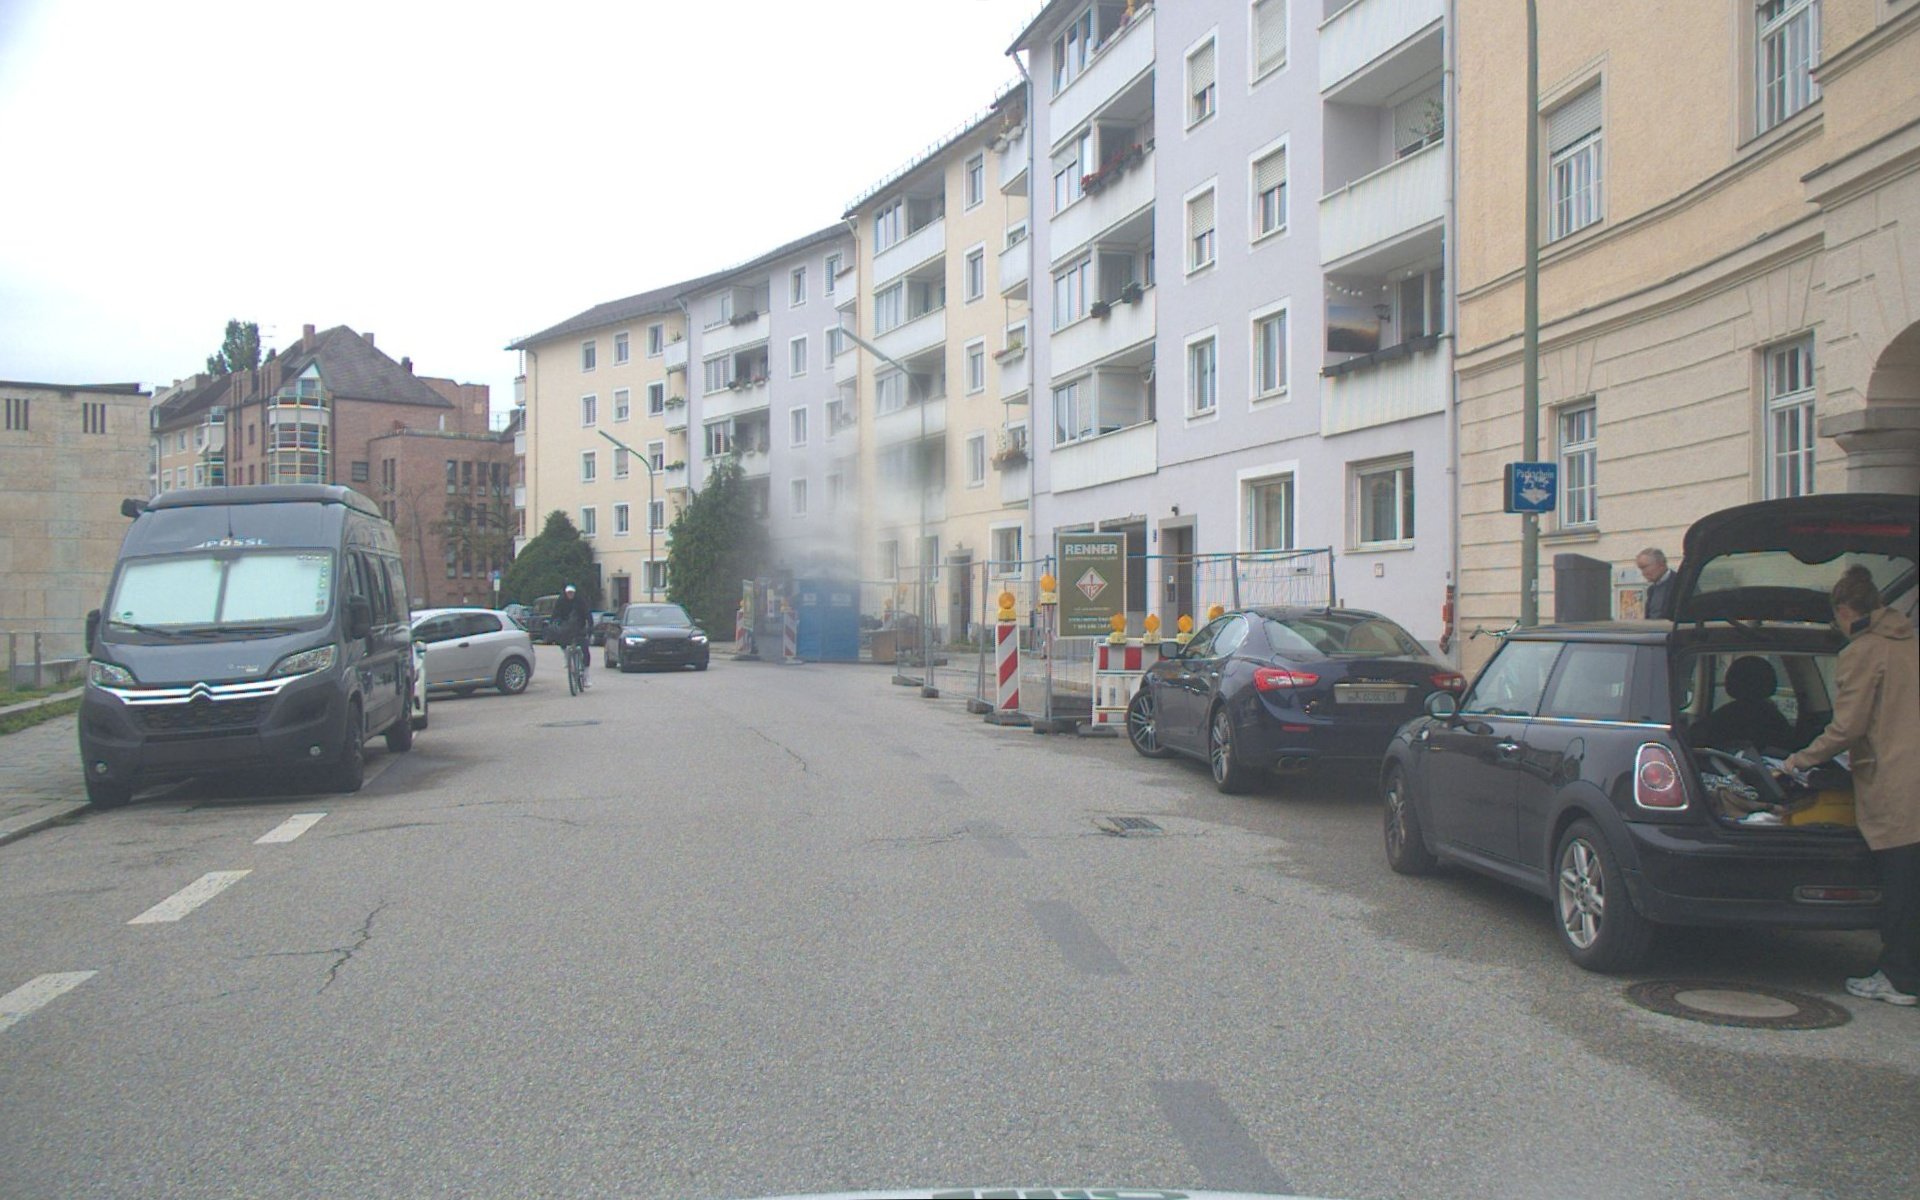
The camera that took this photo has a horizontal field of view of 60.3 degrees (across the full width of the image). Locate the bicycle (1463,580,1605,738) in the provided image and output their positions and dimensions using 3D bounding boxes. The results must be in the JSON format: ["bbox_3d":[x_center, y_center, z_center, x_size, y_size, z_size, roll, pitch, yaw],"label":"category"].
[{"bbox_3d":[4.933,0.485,14.313,0.623,1.280,1.670,0,0,-1],"label":"bicycle"}]

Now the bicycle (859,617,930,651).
[{"bbox_3d":[-2.170,1.121,54.761,2.203,1.088,0.912,0,0,-24],"label":"bicycle"}]

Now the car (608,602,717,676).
[{"bbox_3d":[-6.621,0.826,36.424,1.889,1.436,4.683,-3,0,-16],"label":"car"}]

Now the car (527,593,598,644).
[{"bbox_3d":[-16.415,0.761,68.223,1.764,2.011,3.679,-2,0,-32],"label":"car"}]

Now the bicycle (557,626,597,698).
[{"bbox_3d":[-6.316,0.997,27.222,0.576,1.088,1.930,-2,1,-14],"label":"bicycle"}]

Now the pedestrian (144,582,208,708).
[{"bbox_3d":[-12.012,0.674,25.334,0.833,1.899,0.707,1,0,-28],"label":"pedestrian"}]

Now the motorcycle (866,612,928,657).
[{"bbox_3d":[-1.799,0.956,46.742,0.919,1.242,2.488,0,0,-24],"label":"motorcycle"}]

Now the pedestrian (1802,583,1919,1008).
[{"bbox_3d":[3.704,0.721,6.370,0.615,1.555,0.578,1,0,-1],"label":"pedestrian"}]

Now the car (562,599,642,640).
[{"bbox_3d":[-13.999,0.756,64.548,1.767,1.545,3.673,1,-1,-36],"label":"car"}]

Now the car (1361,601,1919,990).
[{"bbox_3d":[3.295,0.749,8.113,1.598,1.442,3.677,1,0,-3],"label":"car"}]

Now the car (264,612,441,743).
[{"bbox_3d":[-8.039,0.945,22.065,1.964,1.476,4.191,-2,0,-19],"label":"car"}]

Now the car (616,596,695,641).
[{"bbox_3d":[-11.224,0.677,60.729,1.809,1.601,3.964,0,0,-27],"label":"car"}]

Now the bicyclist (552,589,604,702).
[{"bbox_3d":[-6.293,0.732,27.255,0.732,1.802,0.812,-3,1,-14],"label":"bicyclist"}]

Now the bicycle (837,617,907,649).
[{"bbox_3d":[-2.979,1.113,56.059,2.203,1.088,0.912,0,0,-24],"label":"bicycle"}]

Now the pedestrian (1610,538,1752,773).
[{"bbox_3d":[5.565,0.419,12.813,0.604,1.720,0.919,-3,0,0],"label":"pedestrian"}]

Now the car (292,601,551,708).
[{"bbox_3d":[-8.914,0.865,27.600,1.682,1.534,3.790,-2,0,40],"label":"car"}]

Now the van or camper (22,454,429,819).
[{"bbox_3d":[-6.314,0.245,15.113,2.257,2.626,6.065,1,0,-13],"label":"van or camper"}]

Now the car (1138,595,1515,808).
[{"bbox_3d":[2.915,0.725,14.380,1.870,1.503,4.942,1,0,-4],"label":"car"}]
